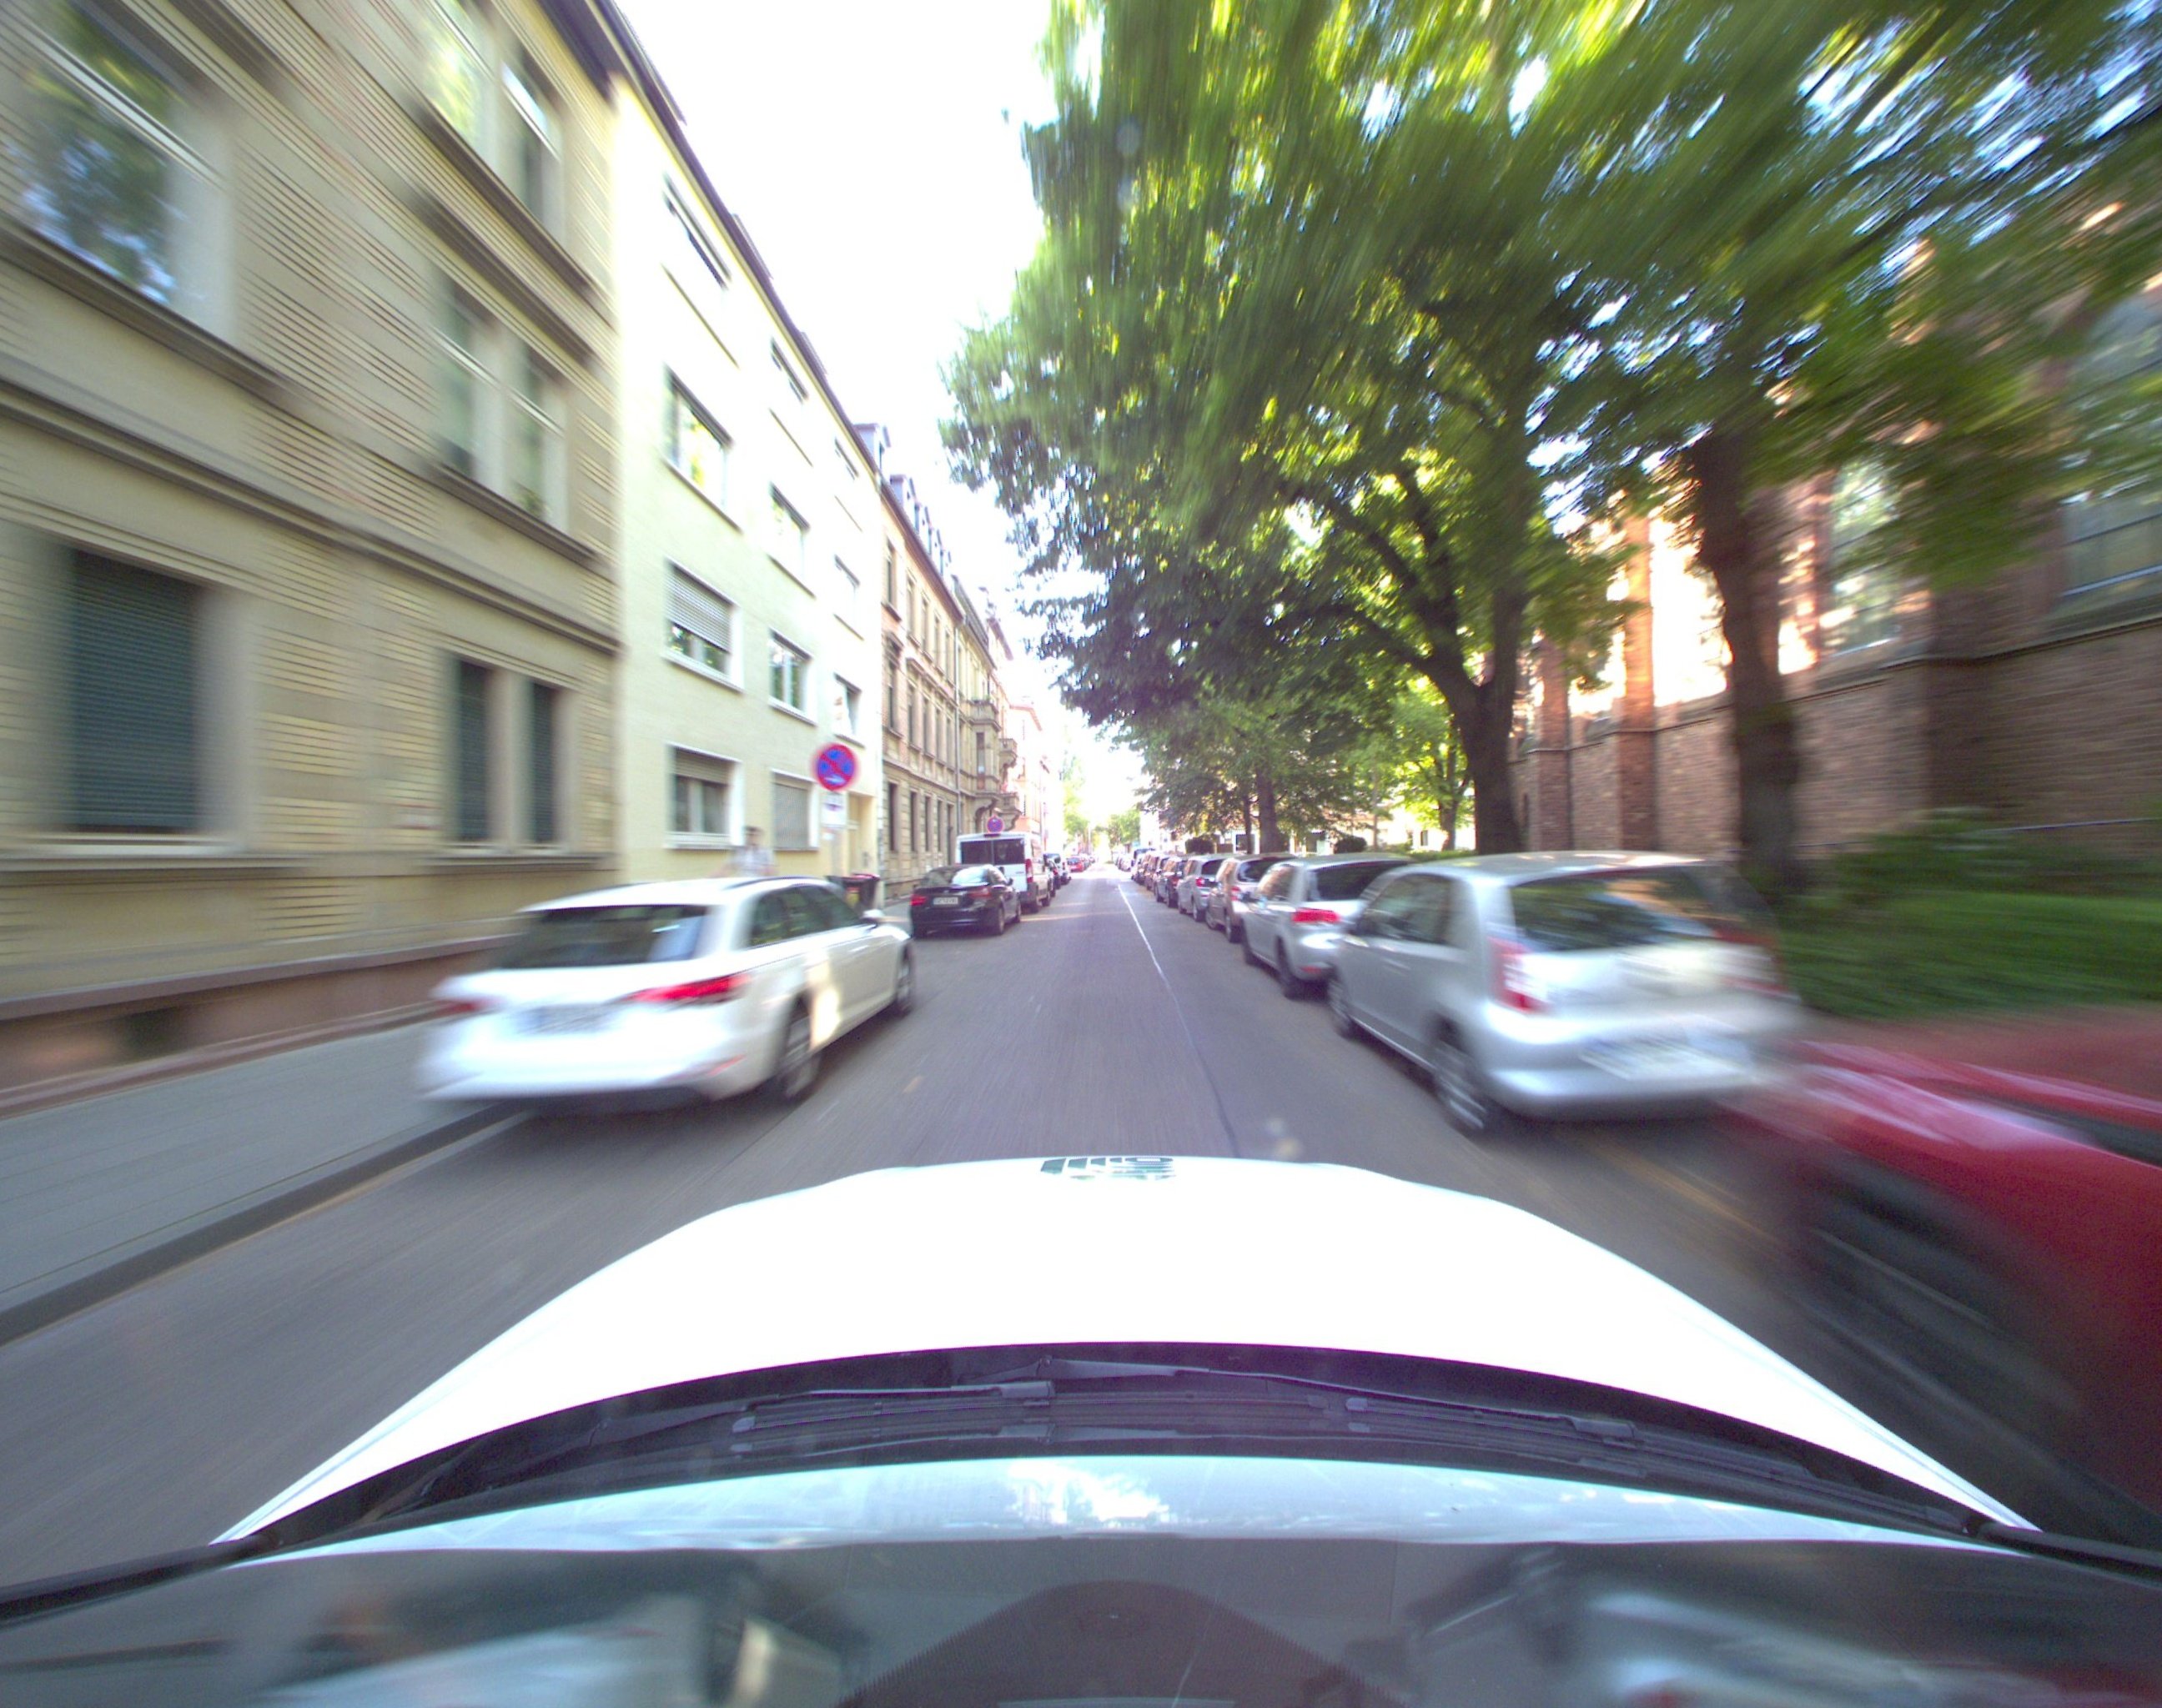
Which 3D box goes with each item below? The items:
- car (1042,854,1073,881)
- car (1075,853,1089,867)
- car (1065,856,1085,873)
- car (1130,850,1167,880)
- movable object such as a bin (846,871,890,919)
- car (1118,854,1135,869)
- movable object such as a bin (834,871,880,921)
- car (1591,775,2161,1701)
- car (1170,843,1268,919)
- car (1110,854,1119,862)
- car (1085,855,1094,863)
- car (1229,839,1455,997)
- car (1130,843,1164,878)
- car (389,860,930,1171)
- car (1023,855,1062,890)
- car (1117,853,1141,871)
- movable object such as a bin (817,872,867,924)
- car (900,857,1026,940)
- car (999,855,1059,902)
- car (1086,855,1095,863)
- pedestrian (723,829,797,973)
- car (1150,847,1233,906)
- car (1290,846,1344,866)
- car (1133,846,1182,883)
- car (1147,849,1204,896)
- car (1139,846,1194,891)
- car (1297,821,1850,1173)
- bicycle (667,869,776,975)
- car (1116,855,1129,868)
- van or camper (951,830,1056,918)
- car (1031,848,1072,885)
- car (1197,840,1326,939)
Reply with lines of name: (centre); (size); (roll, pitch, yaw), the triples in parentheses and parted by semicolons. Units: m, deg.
car: (-1.402, 0.803, 49.896); (1.687, 1.481, 3.974); (-3, 0, 1)
car: (0.182, 0.802, 107.943); (1.759, 1.785, 4.040); (-3, 0, 1)
car: (-0.485, 0.932, 73.596); (1.622, 1.481, 3.601); (-3, 0, 1)
car: (3.739, 0.617, 45.563); (1.713, 1.571, 3.828); (-1, 0, 0)
movable object such as a bin: (-5.018, 0.953, 19.198); (0.796, 1.088, 0.667); (-1, -1, 5)
car: (4.886, 0.748, 88.209); (1.670, 1.506, 3.938); (-3, 0, 1)
movable object such as a bin: (-5.073, 0.940, 18.475); (0.796, 1.088, 0.667); (-1, -1, 5)
car: (2.606, 0.610, 0.827); (1.657, 1.586, 4.104); (-6, -1, 3)
car: (3.211, 0.618, 19.589); (1.594, 1.505, 3.627); (-6, -1, -1)
car: (6.805, 0.705, 163.924); (1.670, 1.487, 3.638); (-3, 0, 1)
car: (1.658, 1.001, 162.118); (1.670, 1.487, 4.095); (-3, 0, 1)
car: (2.936, 0.654, 10.009); (1.593, 1.470, 3.871); (-4, -1, 2)
car: (4.060, 0.371, 50.848); (1.906, 1.998, 4.796); (-3, 0, 4)
car: (-2.574, 0.839, 6.413); (1.724, 1.456, 4.523); (-3, 0, 2)
car: (-1.819, 0.842, 39.630); (1.688, 1.514, 3.971); (-3, 0, -1)
car: (4.236, 0.711, 73.040); (1.739, 1.506, 4.355); (-3, 0, -1)
movable object such as a bin: (-5.187, 0.938, 17.695); (0.832, 1.088, 0.676); (-1, -1, 4)
car: (-2.323, 0.838, 17.191); (1.723, 1.402, 4.319); (-3, 0, 3)
car: (-1.831, 0.837, 29.892); (1.760, 1.514, 4.194); (-3, 0, 1)
car: (2.018, 1.023, 167.273); (1.670, 1.487, 4.095); (-3, 0, 1)
pedestrian: (-4.220, 0.586, 10.760); (0.486, 1.803, 1.115); (1, 0, 0)
car: (3.176, 0.638, 24.306); (1.670, 1.441, 4.694); (-6, -1, -1)
car: (18.405, 0.204, 63.668); (3.833, 1.473, 1.637); (-1, -2, 8)
car: (3.755, 0.532, 40.479); (1.735, 1.603, 4.260); (-6, -1, -2)
car: (3.415, 0.661, 30.005); (1.613, 1.486, 3.777); (-6, -1, 1)
car: (3.535, 0.609, 34.295); (1.615, 1.624, 3.860); (-6, -1, -2)
car: (2.810, 0.693, 5.704); (1.593, 1.505, 3.722); (-6, -1, 2)
bicycle: (-4.737, 0.846, 10.873); (0.568, 1.244, 1.845); (2, 0, 1)
car: (5.625, 1.028, 110.167); (1.669, 1.681, 4.097); (-3, -1, 3)
van or camper: (-2.084, 0.512, 23.591); (2.168, 2.147, 5.158); (-3, 0, 3)
car: (-1.555, 0.652, 44.516); (1.824, 1.811, 4.573); (-3, 0, 1)
car: (3.202, 0.595, 15.127); (1.593, 1.468, 3.565); (-6, -1, 2)
